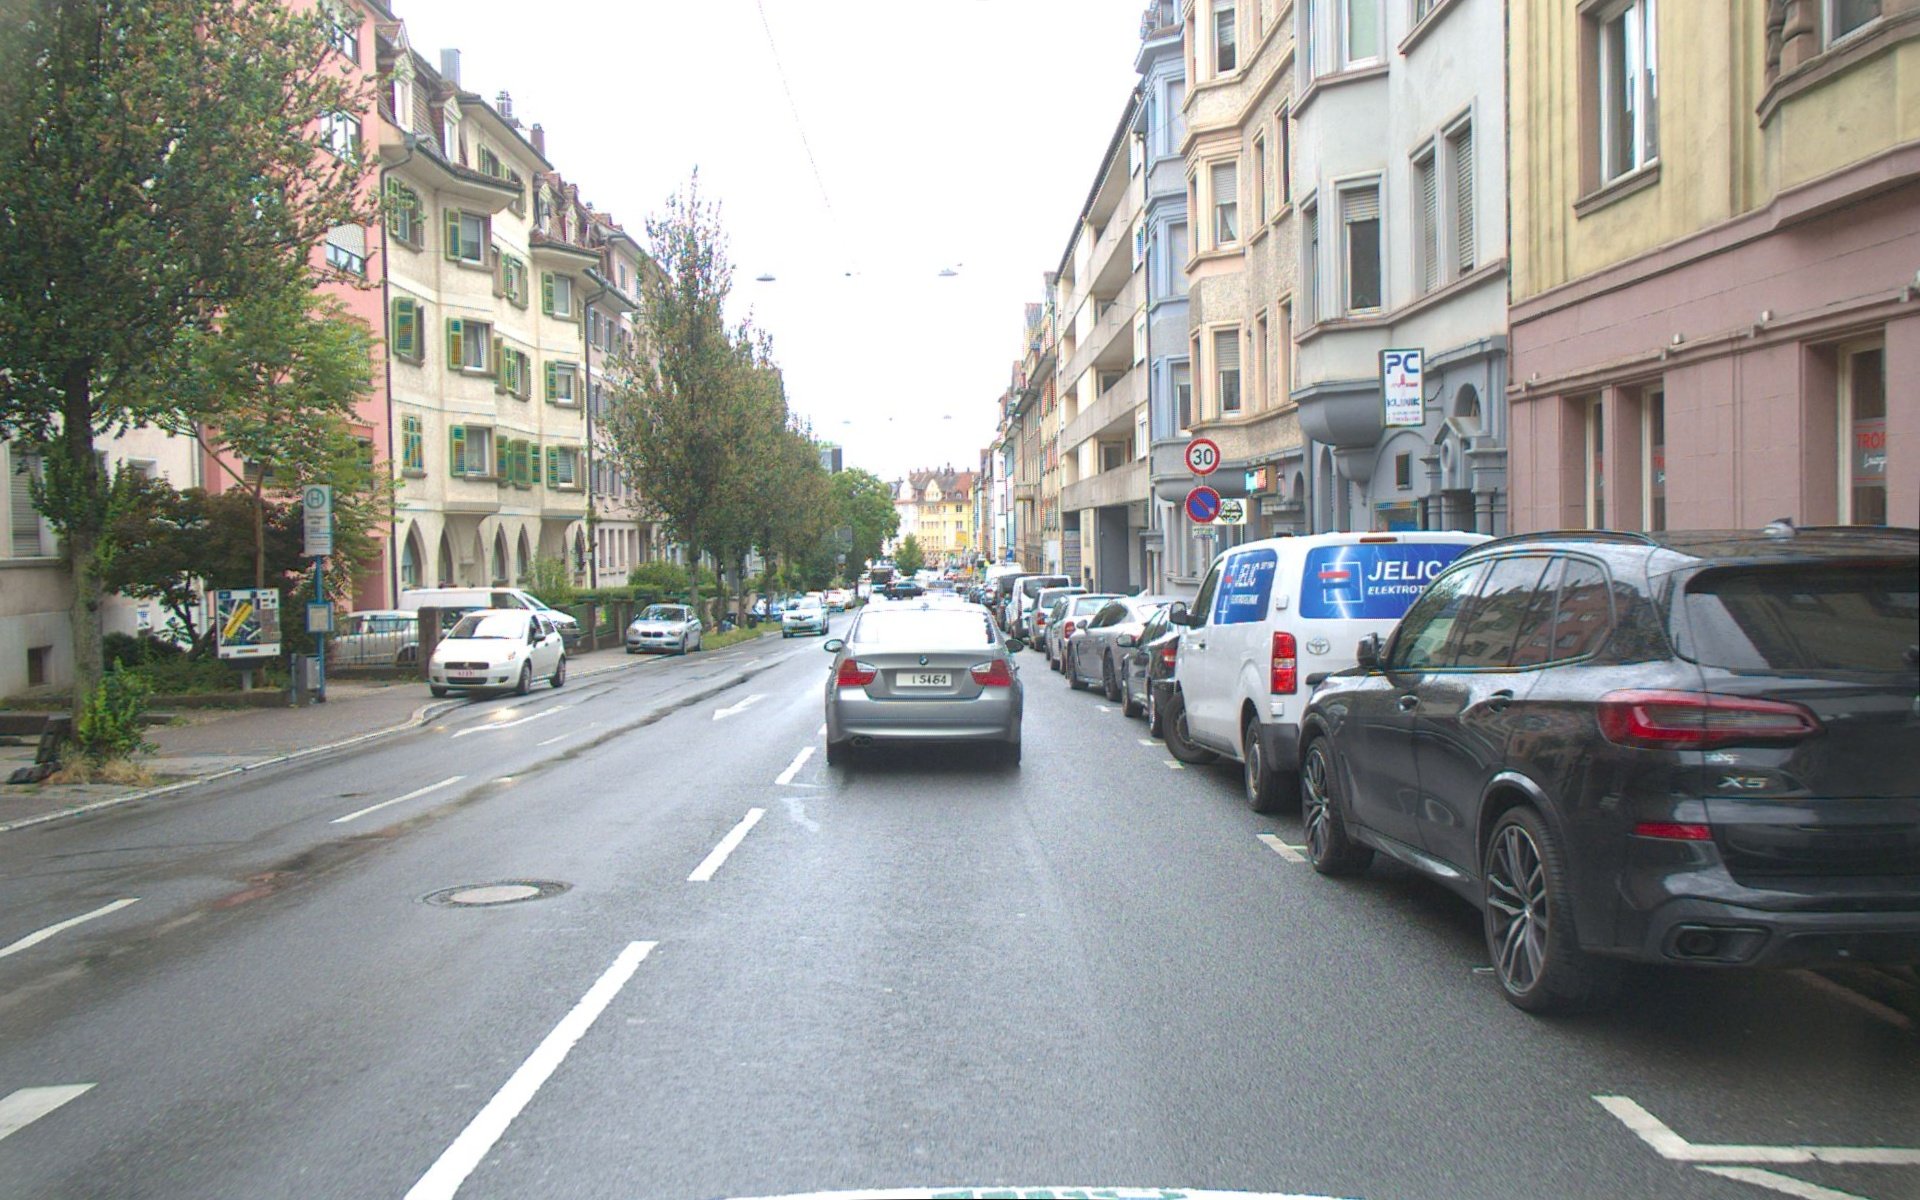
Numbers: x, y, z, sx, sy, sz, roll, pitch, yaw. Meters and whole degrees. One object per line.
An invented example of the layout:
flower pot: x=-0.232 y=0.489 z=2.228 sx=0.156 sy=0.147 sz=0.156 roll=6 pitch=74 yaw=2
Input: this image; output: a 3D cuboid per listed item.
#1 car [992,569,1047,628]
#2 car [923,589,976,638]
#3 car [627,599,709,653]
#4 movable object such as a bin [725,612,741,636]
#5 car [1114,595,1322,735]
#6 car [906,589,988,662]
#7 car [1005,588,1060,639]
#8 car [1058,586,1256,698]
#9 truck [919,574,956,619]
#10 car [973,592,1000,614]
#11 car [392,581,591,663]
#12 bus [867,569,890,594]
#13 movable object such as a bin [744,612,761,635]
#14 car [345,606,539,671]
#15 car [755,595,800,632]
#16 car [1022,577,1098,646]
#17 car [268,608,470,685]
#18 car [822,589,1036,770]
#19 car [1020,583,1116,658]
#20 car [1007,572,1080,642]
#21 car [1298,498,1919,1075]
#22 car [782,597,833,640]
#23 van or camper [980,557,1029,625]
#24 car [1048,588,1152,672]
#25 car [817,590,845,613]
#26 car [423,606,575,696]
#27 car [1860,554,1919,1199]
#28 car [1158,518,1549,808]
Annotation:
car: x=2.341 y=-0.066 z=66.483 sx=1.941 sy=2.203 sz=4.749 roll=-2 pitch=0 yaw=-1
car: x=-0.371 y=0.441 z=54.001 sx=1.663 sy=1.509 sz=3.792 roll=1 pitch=0 yaw=-1
car: x=-8.712 y=0.758 z=49.650 sx=1.691 sy=1.510 sz=3.989 roll=1 pitch=0 yaw=0
movable object such as a bin: x=-9.029 y=0.940 z=65.817 sx=0.565 sy=0.928 sz=0.638 roll=-2 pitch=0 yaw=-15
car: x=2.800 y=0.649 z=18.794 sx=1.643 sy=1.399 sz=4.275 roll=0 pitch=0 yaw=-1
car: x=-0.254 y=0.521 z=35.533 sx=1.647 sy=1.453 sz=3.741 roll=1 pitch=0 yaw=0
car: x=2.577 y=0.469 z=59.393 sx=1.691 sy=1.699 sz=4.287 roll=-2 pitch=0 yaw=-1
car: x=2.791 y=0.566 z=24.554 sx=1.839 sy=1.493 sz=4.768 roll=1 pitch=0 yaw=-7
truck: x=-1.277 y=-0.173 z=92.812 sx=1.991 sy=2.455 sz=4.825 roll=1 pitch=0 yaw=-1
car: x=1.825 y=0.211 z=115.088 sx=1.663 sy=1.509 sz=3.974 roll=1 pitch=0 yaw=-1
car: x=-12.522 y=0.575 z=44.428 sx=4.731 sy=2.008 sz=2.047 roll=-1 pitch=0 yaw=-1
bus: x=-10.199 y=-2.296 z=207.381 sx=2.614 sy=3.077 sz=7.669 roll=-2 pitch=0 yaw=-1
movable object such as a bin: x=-8.293 y=0.936 z=66.065 sx=0.565 sy=0.928 sz=0.638 roll=-2 pitch=0 yaw=-15
car: x=-13.051 y=0.948 z=41.859 sx=4.343 sy=1.477 sz=1.791 roll=-2 pitch=0 yaw=-3
car: x=-8.596 y=0.607 z=77.997 sx=1.731 sy=1.621 sz=3.999 roll=-3 pitch=0 yaw=-2
car: x=2.681 y=0.295 z=45.132 sx=1.691 sy=1.699 sz=4.288 roll=-3 pitch=0 yaw=-1
car: x=-12.870 y=0.991 z=36.211 sx=3.809 sy=1.483 sz=1.789 roll=-2 pitch=0 yaw=-8
car: x=-0.327 y=0.653 z=15.354 sx=1.734 sy=1.453 sz=3.739 roll=1 pitch=0 yaw=-2
car: x=2.451 y=0.440 z=38.529 sx=1.861 sy=1.504 sz=4.798 roll=-3 pitch=0 yaw=0
car: x=2.560 y=0.200 z=51.863 sx=1.941 sy=2.042 sz=4.624 roll=-2 pitch=0 yaw=-1
car: x=2.955 y=0.576 z=7.441 sx=1.840 sy=1.762 sz=4.676 roll=1 pitch=0 yaw=-1
car: x=-5.975 y=0.715 z=65.100 sx=1.603 sy=1.534 sz=3.754 roll=-3 pitch=0 yaw=-1
van or camper: x=2.122 y=-0.418 z=77.031 sx=1.991 sy=2.919 sz=6.888 roll=2 pitch=0 yaw=3
car: x=2.611 y=0.530 z=31.562 sx=1.578 sy=1.500 sz=4.015 roll=0 pitch=0 yaw=-1
car: x=-9.380 y=0.101 z=120.230 sx=1.656 sy=1.550 sz=3.736 roll=-3 pitch=0 yaw=0
car: x=-8.273 y=0.877 z=30.021 sx=1.588 sy=1.471 sz=4.005 roll=-1 pitch=0 yaw=0
car: x=3.308 y=0.703 z=2.111 sx=1.762 sy=1.592 sz=4.491 roll=1 pitch=0 yaw=-2
car: x=2.904 y=0.409 z=13.443 sx=1.880 sy=1.859 sz=5.008 roll=-2 pitch=0 yaw=-1
